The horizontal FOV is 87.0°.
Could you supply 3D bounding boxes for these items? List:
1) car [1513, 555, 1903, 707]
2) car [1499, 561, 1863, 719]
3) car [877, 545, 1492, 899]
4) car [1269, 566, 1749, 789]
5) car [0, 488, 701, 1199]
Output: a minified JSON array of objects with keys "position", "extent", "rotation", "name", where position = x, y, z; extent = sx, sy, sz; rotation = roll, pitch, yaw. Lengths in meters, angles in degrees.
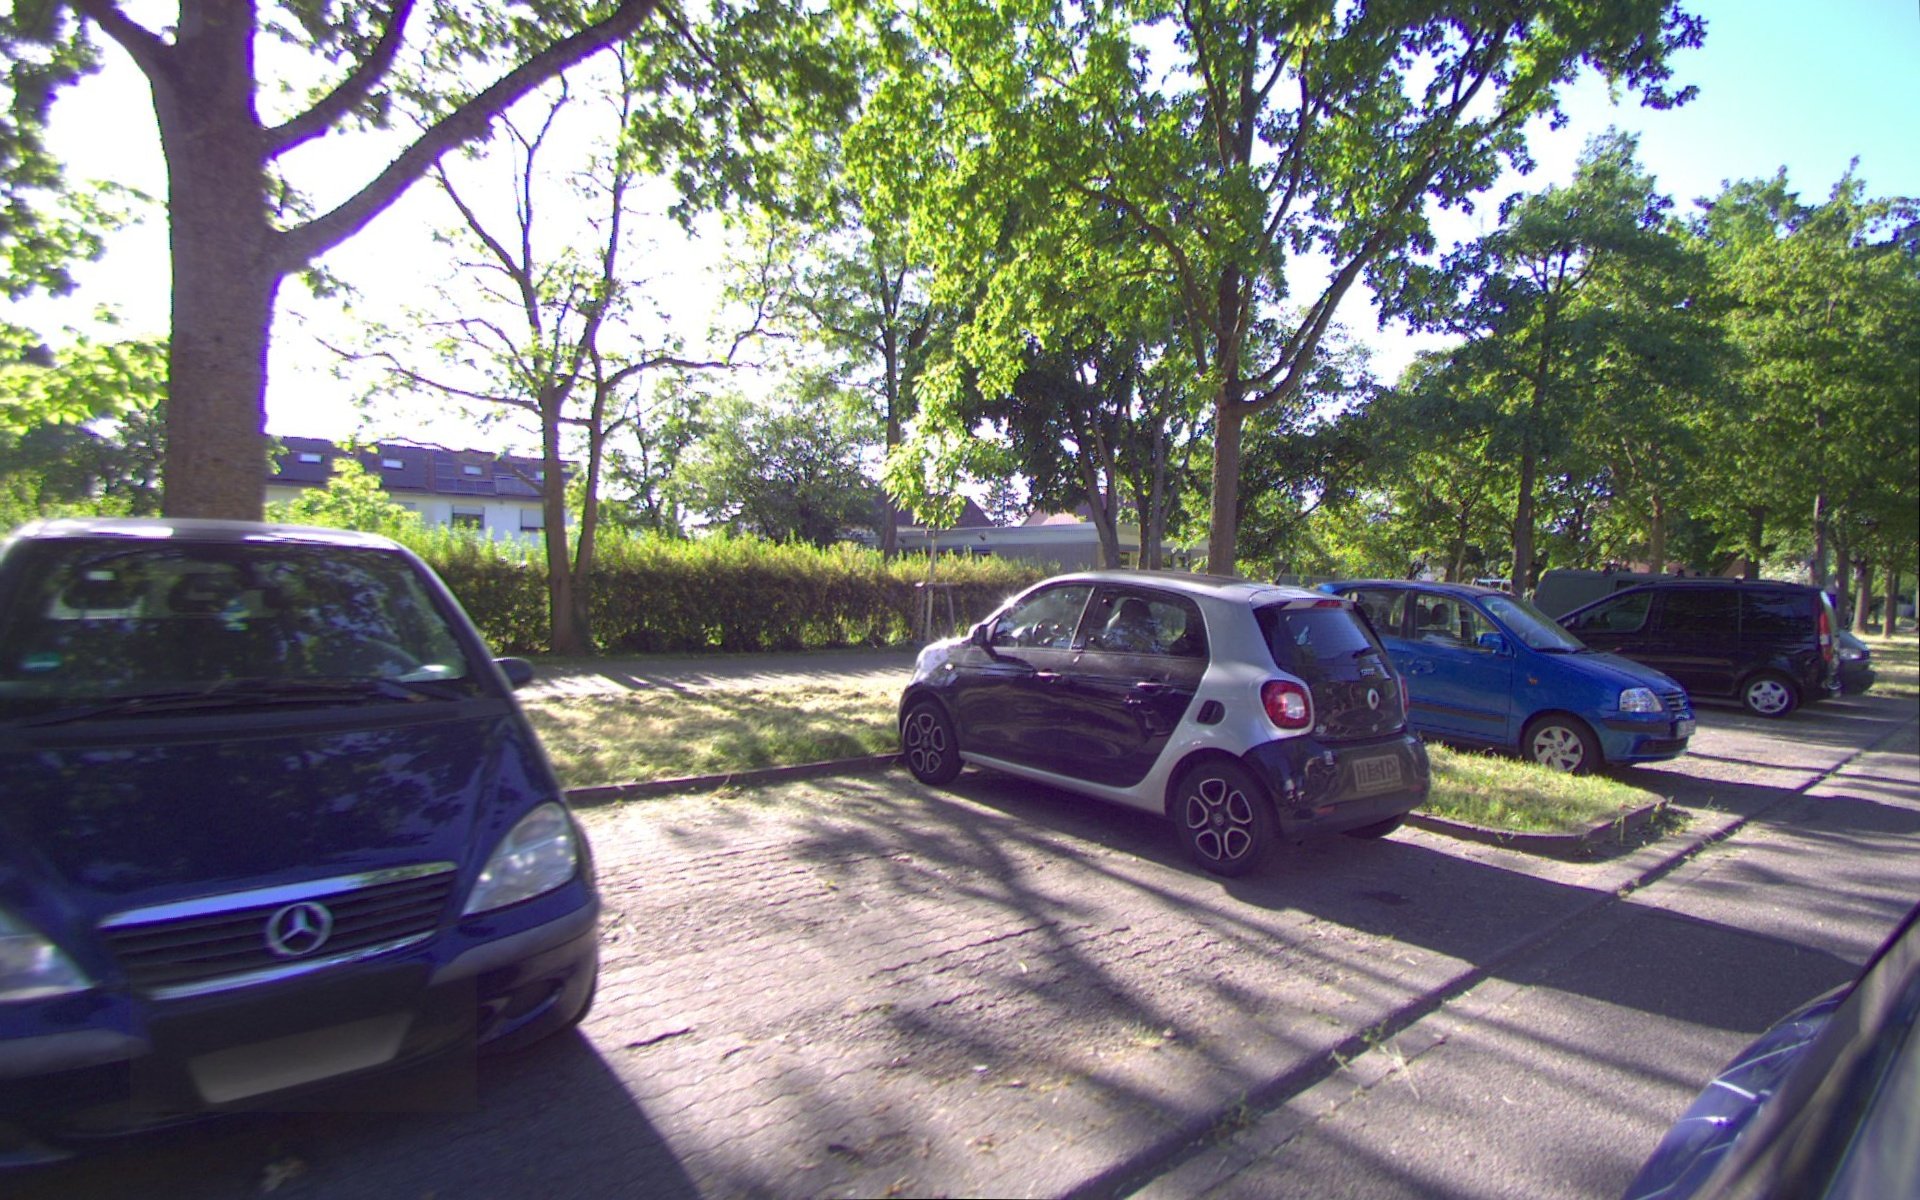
[{"position":[12.036,0.360,16.600],"extent":[1.910,2.057,4.813],"rotation":[1,2,-41],"name":"car"},{"position":[10.369,0.450,14.778],"extent":[1.769,1.859,4.014],"rotation":[0,3,-43],"name":"car"},{"position":[1.214,0.499,6.652],"extent":[1.754,1.595,3.593],"rotation":[1,3,-39],"name":"car"},{"position":[4.897,0.537,9.409],"extent":[1.635,1.551,3.530],"rotation":[1,3,-39],"name":"car"},{"position":[-2.606,0.488,3.567],"extent":[1.825,1.595,3.590],"rotation":[0,3,-41],"name":"car"}]
